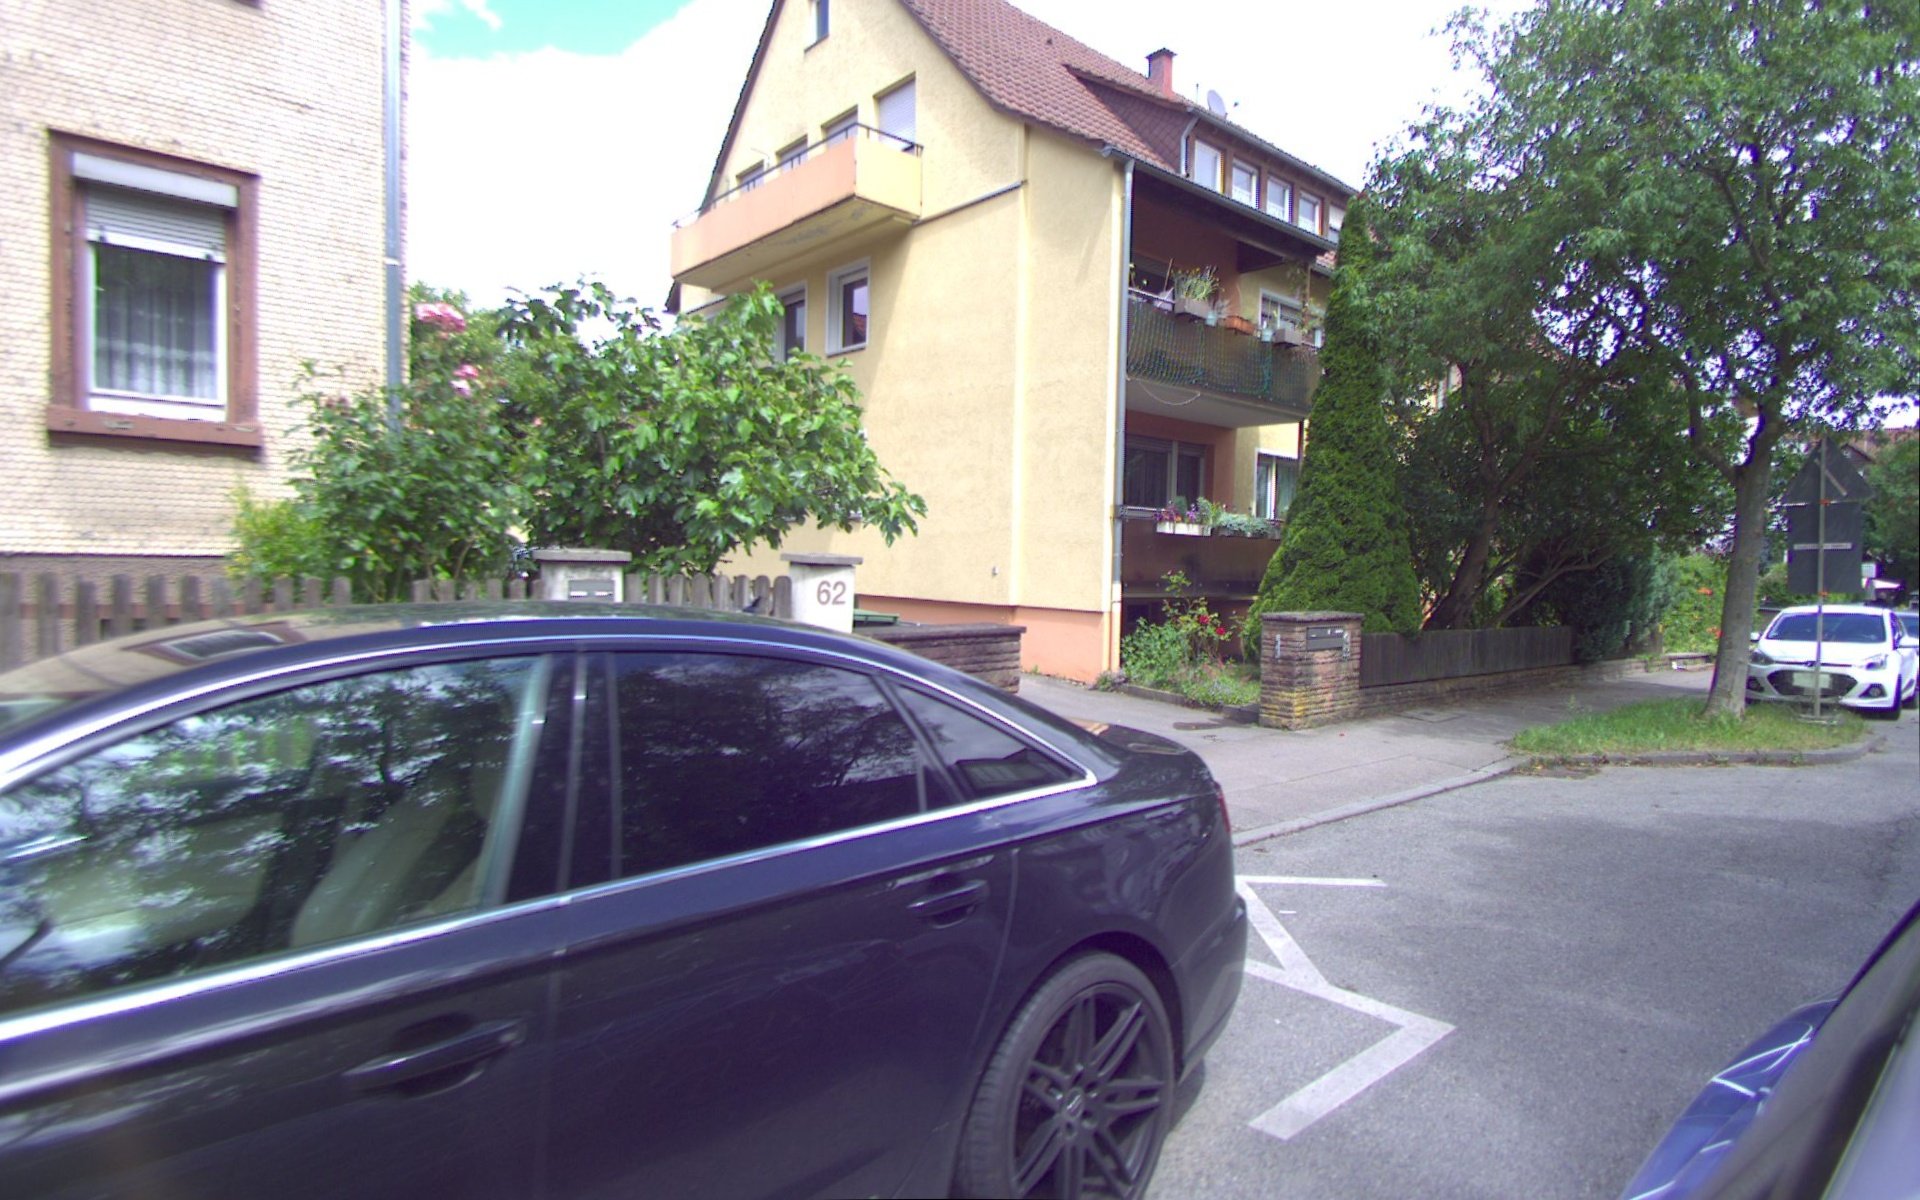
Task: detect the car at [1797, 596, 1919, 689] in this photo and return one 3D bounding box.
[{"bbox_3d":[16.759,0.691,18.051,4.506,1.441,1.998,0,2,-40],"label":"car"}]

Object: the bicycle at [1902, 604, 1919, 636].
[{"bbox_3d":[37.382,0.772,39.326,2.171,1.164,0.723,-1,2,-36],"label":"bicycle"}]

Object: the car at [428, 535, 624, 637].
[{"bbox_3d":[-7.764,-0.327,17.940,3.985,1.548,1.649,4,4,41],"label":"car"}]

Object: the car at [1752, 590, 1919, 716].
[{"bbox_3d":[12.817,0.662,14.496,3.713,1.526,1.625,0,2,-41],"label":"car"}]

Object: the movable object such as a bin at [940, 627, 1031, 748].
[{"bbox_3d":[0.212,0.727,8.590,0.511,0.946,0.508,3,1,-41],"label":"movable object such as a bin"}]

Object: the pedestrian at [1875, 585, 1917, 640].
[{"bbox_3d":[30.314,0.394,32.772,0.827,1.733,0.882,0,2,-40],"label":"pedestrian"}]

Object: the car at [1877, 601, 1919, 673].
[{"bbox_3d":[21.242,0.753,21.735,4.797,1.447,1.737,0,-1,-41],"label":"car"}]

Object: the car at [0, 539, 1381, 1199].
[{"bbox_3d":[-1.103,0.671,2.120,4.803,1.463,1.804,0,0,-42],"label":"car"}]
